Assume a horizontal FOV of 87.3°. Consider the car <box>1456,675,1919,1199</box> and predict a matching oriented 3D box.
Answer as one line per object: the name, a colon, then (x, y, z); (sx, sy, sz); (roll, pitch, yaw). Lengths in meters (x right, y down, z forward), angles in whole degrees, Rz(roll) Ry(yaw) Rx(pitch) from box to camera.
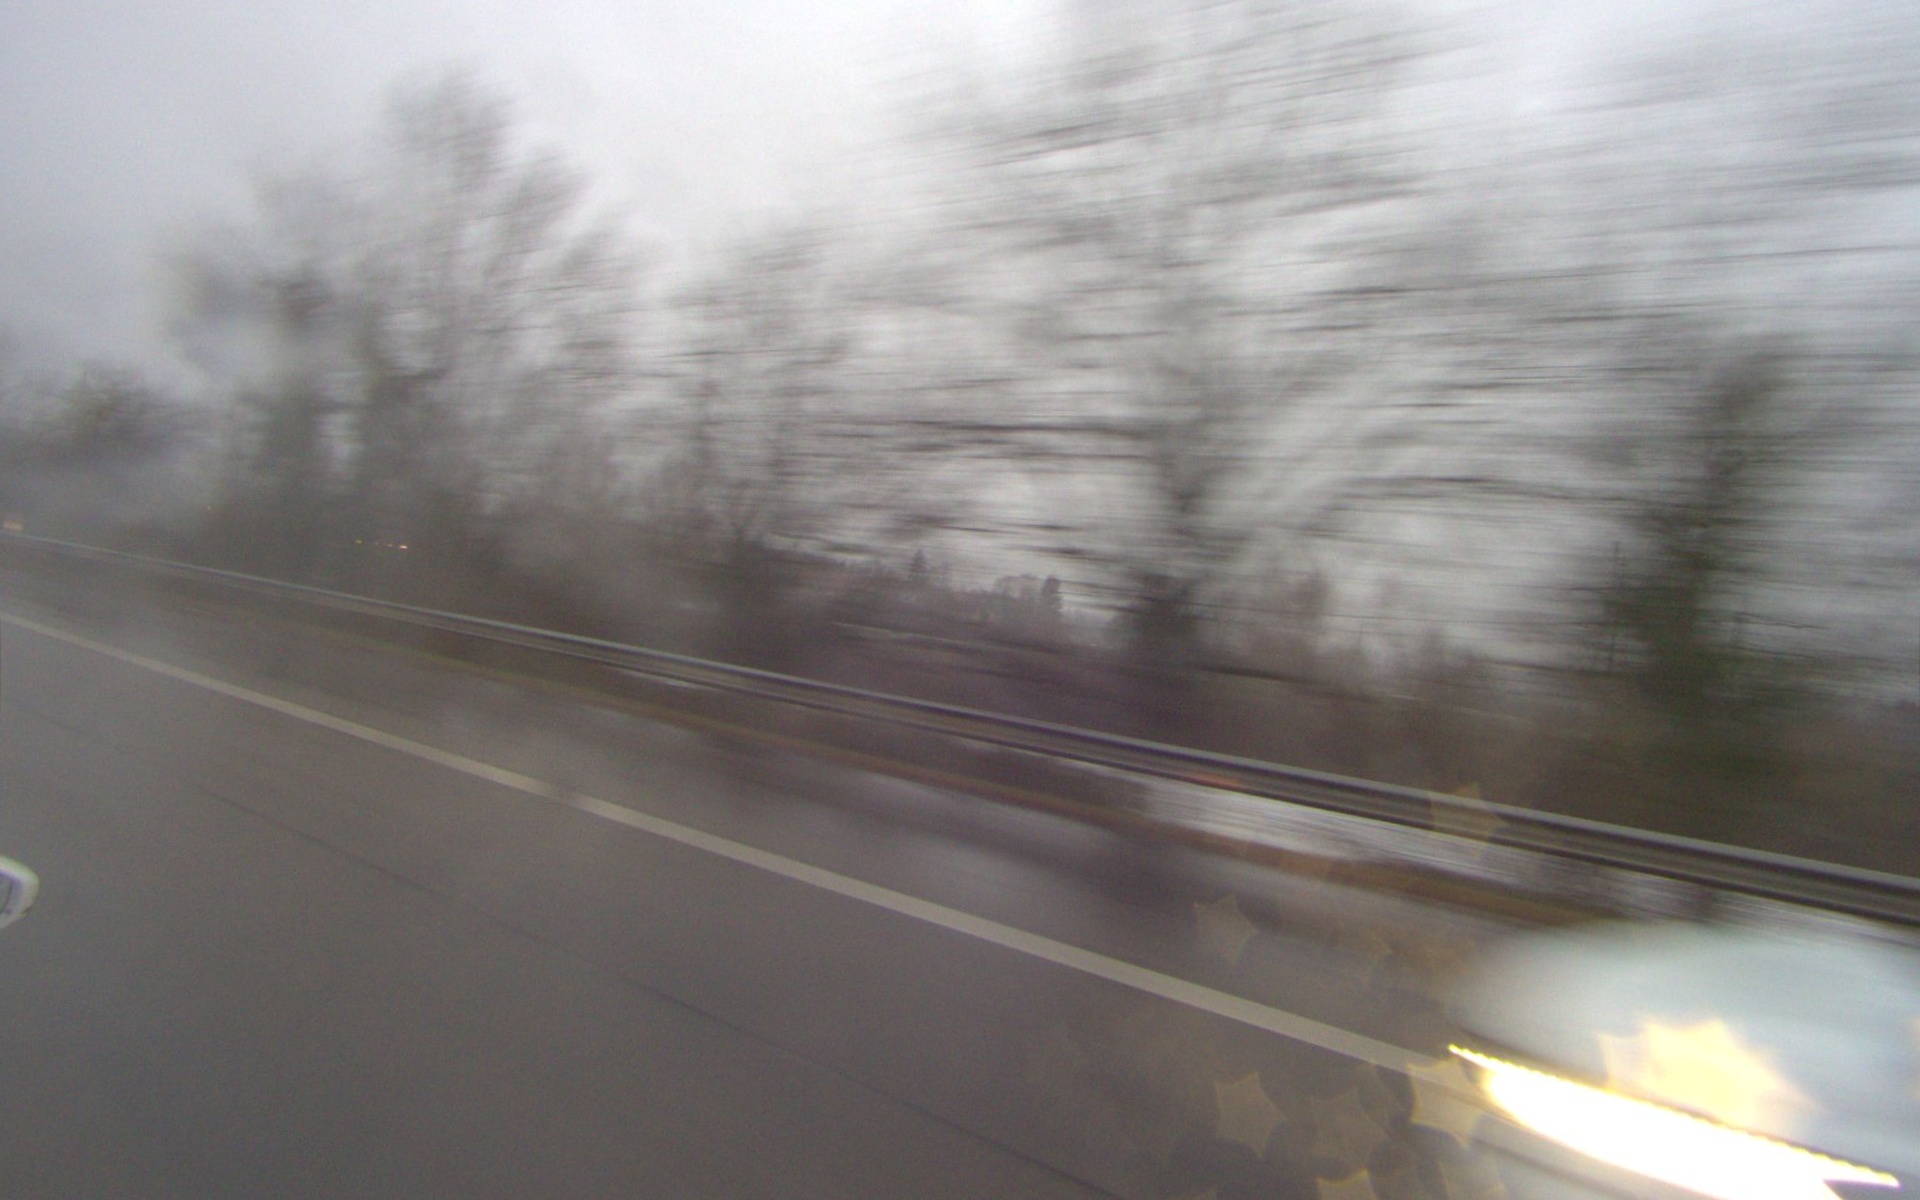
car: (3.070, 1.177, 1.626); (3.933, 1.521, 1.800); (7, 0, 31)
